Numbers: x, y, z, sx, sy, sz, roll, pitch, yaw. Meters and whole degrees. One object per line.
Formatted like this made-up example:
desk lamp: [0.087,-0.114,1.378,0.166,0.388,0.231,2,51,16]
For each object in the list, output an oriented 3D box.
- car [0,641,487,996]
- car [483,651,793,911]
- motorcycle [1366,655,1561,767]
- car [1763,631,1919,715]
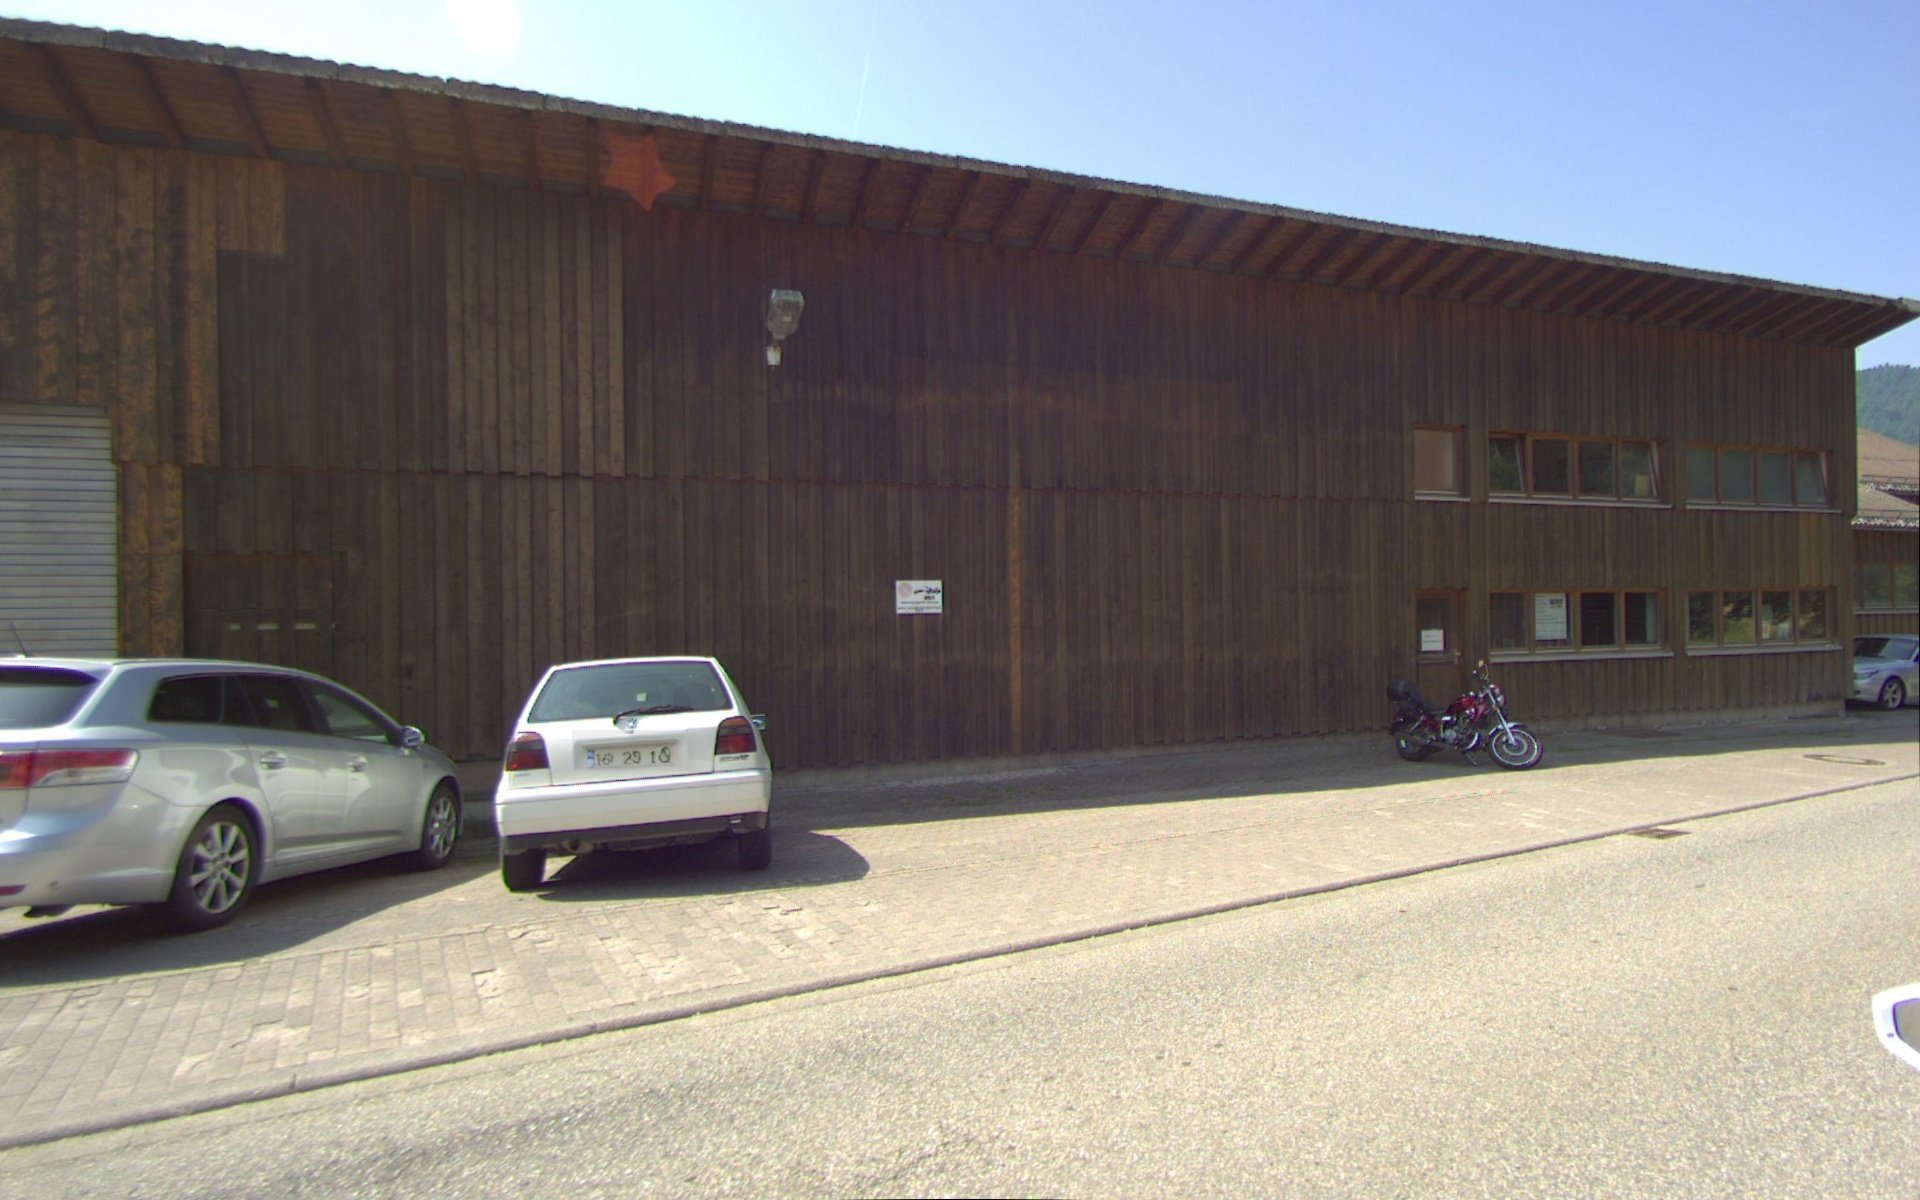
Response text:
car: [-4.890,1.138,6.446,1.888,1.493,4.444,-1,-5,-5]
car: [-2.275,1.186,7.529,1.682,1.403,3.662,0,-6,-15]
motorcycle: [6.442,1.372,13.045,0.732,1.281,2.406,1,-2,-20]
car: [18.616,1.384,20.014,4.727,1.473,1.728,0,-1,-17]
